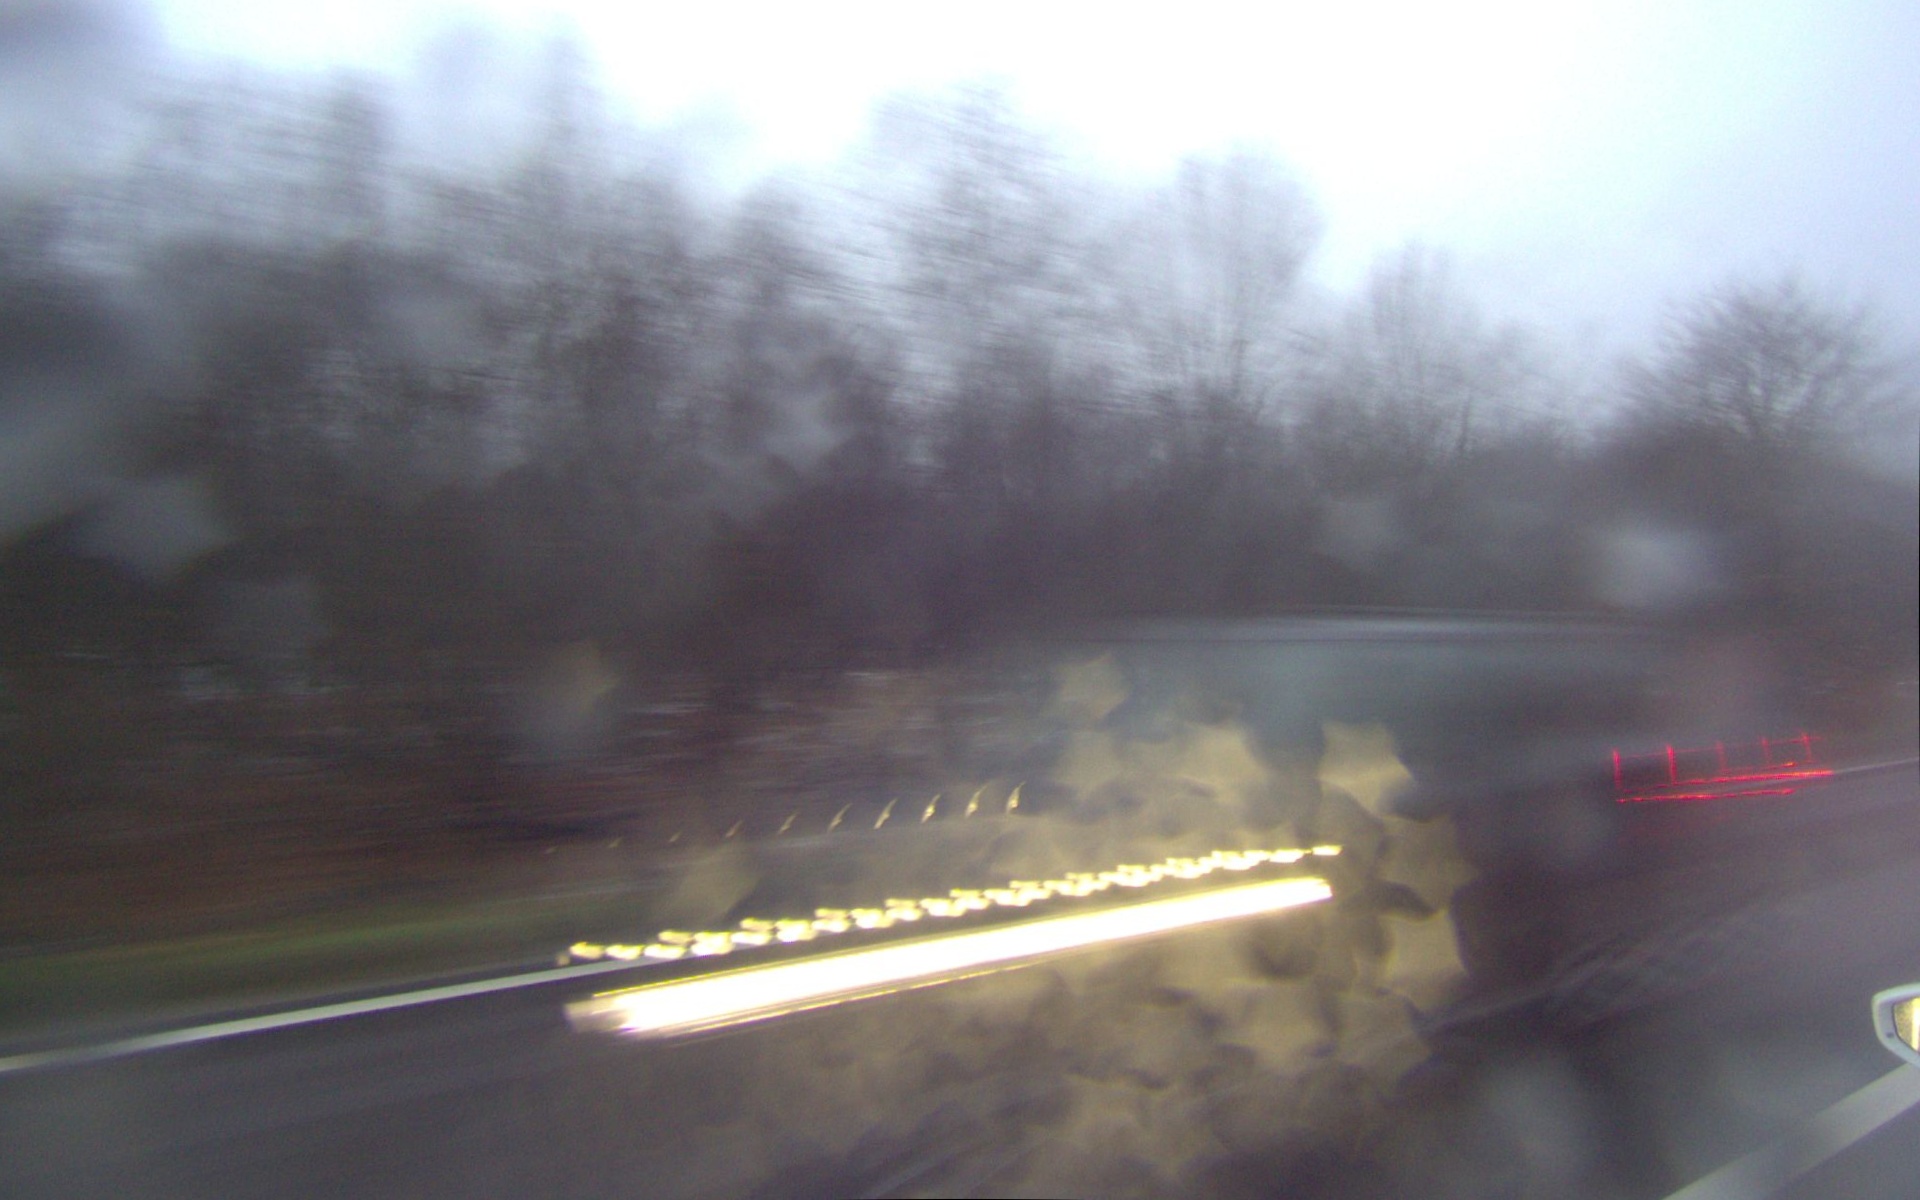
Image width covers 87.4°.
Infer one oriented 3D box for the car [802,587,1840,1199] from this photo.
[{"bbox_3d":[1.589,0.759,4.023,4.079,1.581,1.686,0,1,-30],"label":"car"}]
